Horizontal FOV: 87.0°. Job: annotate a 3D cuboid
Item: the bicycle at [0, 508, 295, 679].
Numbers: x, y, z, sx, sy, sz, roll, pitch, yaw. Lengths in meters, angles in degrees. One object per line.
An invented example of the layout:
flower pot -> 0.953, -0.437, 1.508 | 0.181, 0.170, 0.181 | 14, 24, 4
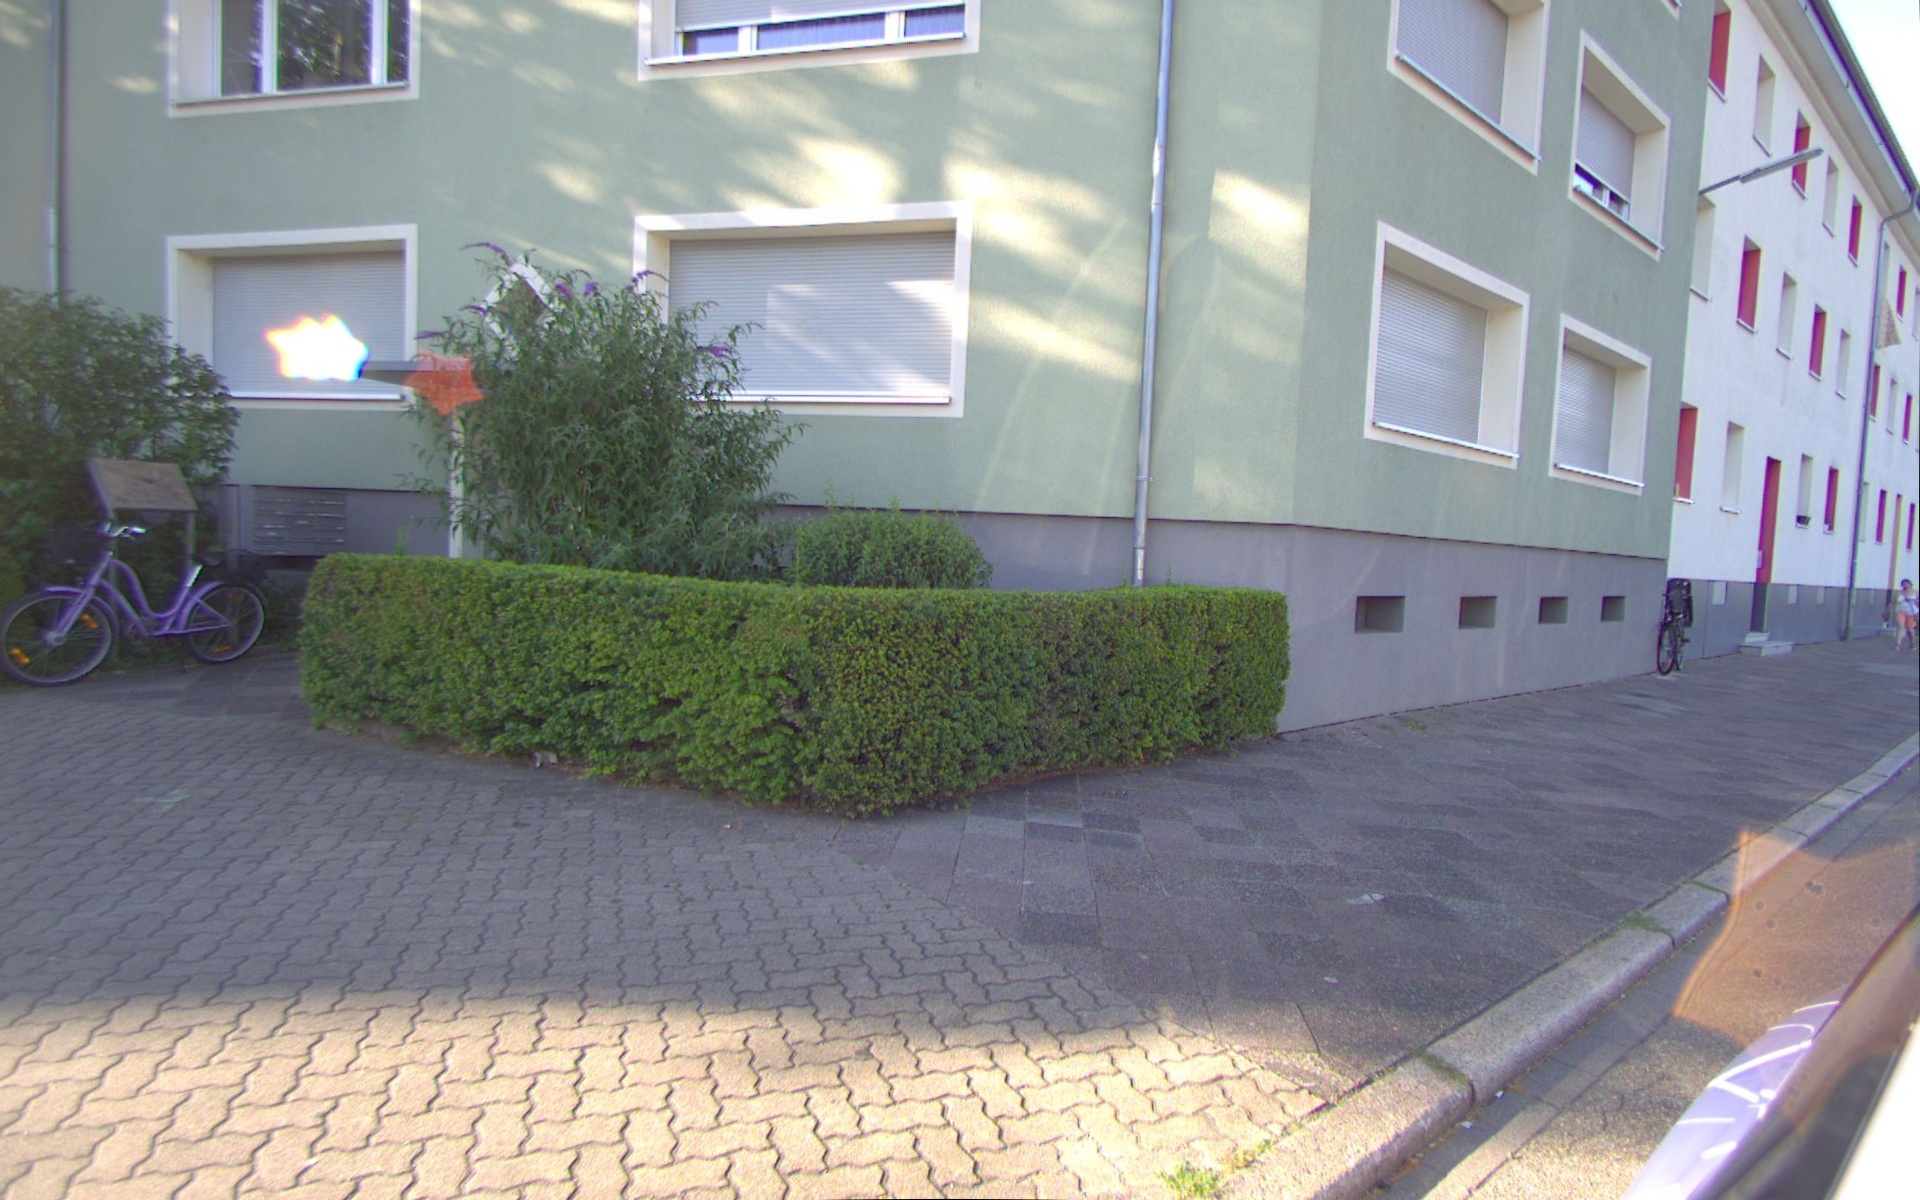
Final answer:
bicycle -> -5.909, -0.084, 7.282 | 0.515, 1.069, 1.920 | 3, 3, 22

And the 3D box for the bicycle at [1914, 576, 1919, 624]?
bicycle -> 29.436, 0.016, 30.727 | 1.843, 1.429, 0.517 | -1, 4, -44

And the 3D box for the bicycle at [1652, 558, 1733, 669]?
bicycle -> 10.135, 0.163, 13.981 | 1.843, 1.429, 0.517 | -1, 4, -44

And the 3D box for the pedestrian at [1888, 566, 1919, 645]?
pedestrian -> 21.521, 0.123, 22.721 | 0.933, 1.727, 0.787 | 0, 4, -41
